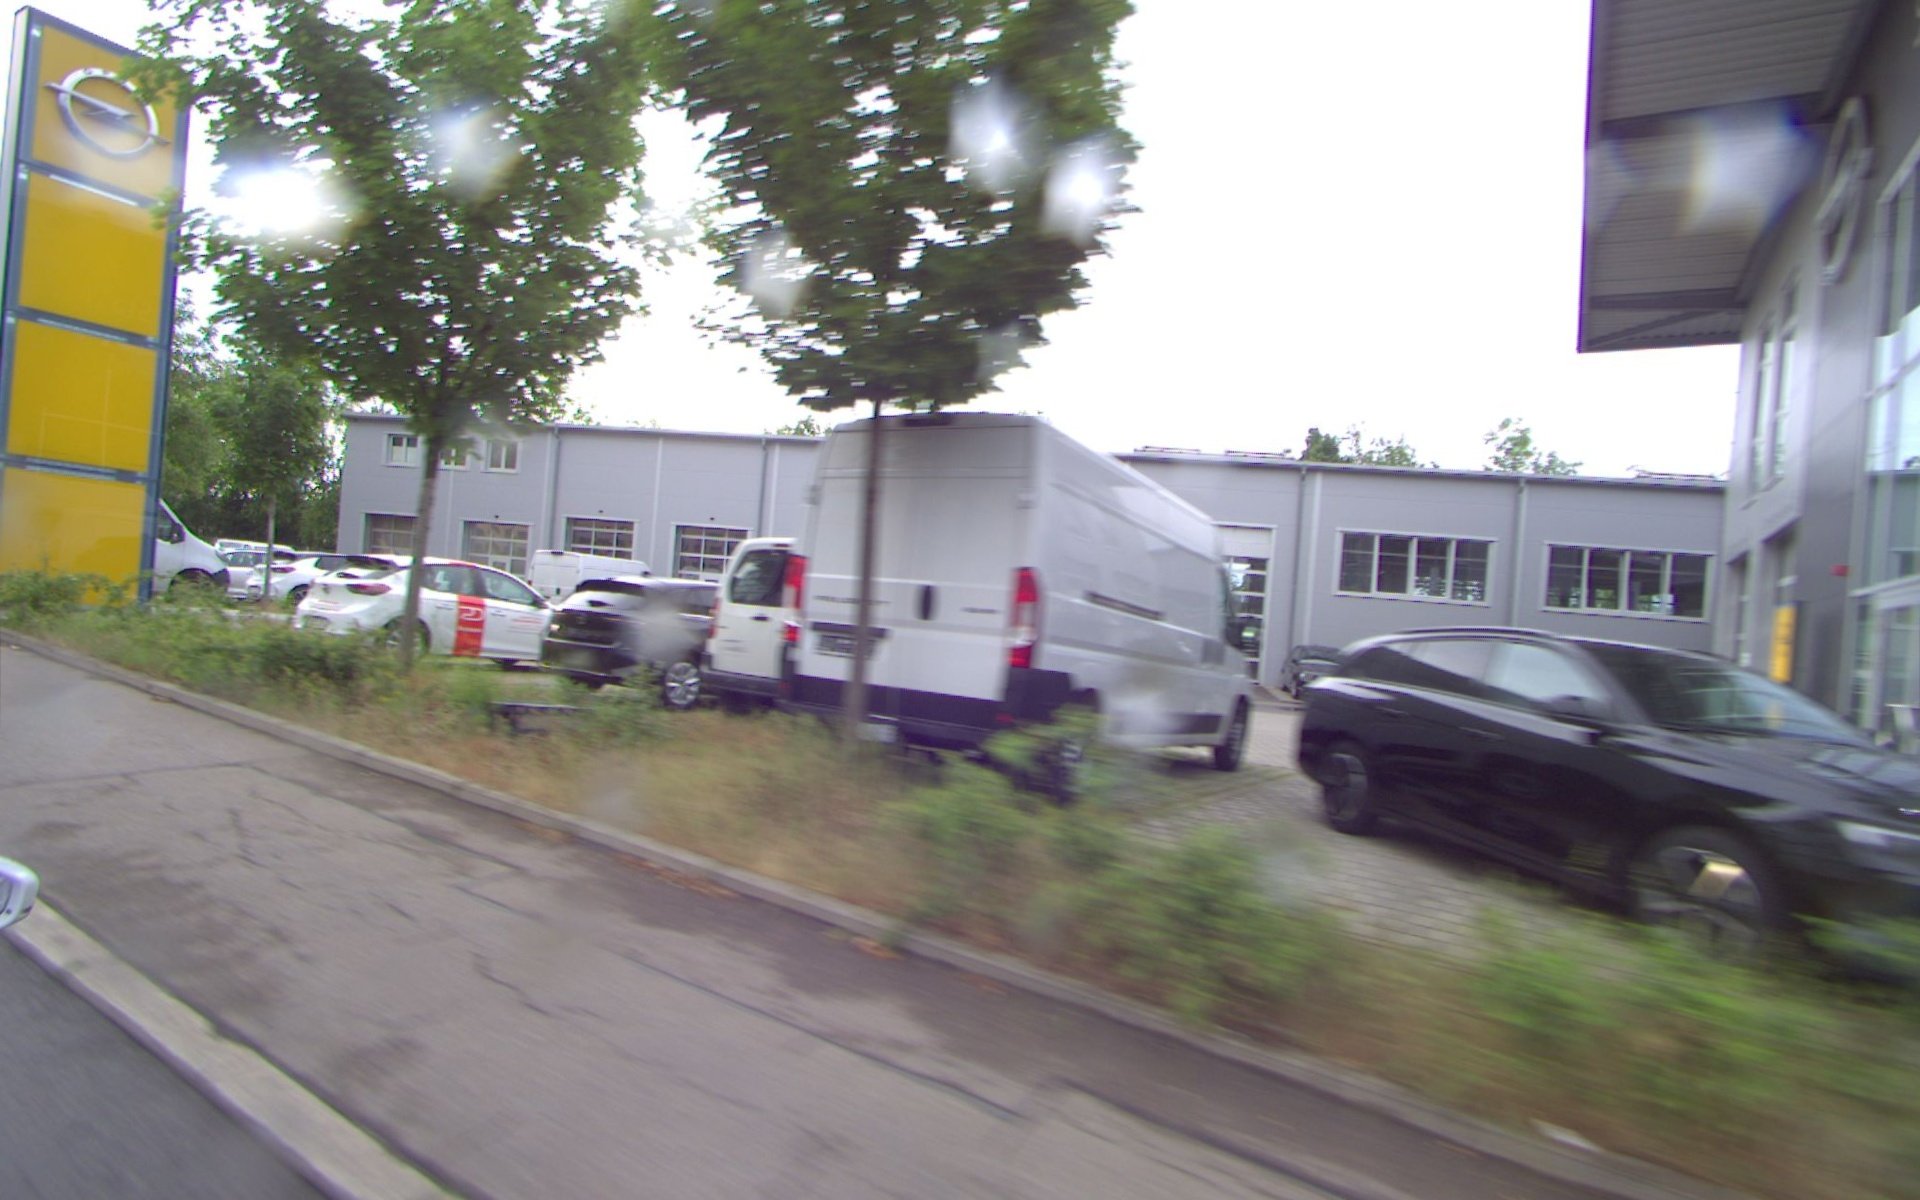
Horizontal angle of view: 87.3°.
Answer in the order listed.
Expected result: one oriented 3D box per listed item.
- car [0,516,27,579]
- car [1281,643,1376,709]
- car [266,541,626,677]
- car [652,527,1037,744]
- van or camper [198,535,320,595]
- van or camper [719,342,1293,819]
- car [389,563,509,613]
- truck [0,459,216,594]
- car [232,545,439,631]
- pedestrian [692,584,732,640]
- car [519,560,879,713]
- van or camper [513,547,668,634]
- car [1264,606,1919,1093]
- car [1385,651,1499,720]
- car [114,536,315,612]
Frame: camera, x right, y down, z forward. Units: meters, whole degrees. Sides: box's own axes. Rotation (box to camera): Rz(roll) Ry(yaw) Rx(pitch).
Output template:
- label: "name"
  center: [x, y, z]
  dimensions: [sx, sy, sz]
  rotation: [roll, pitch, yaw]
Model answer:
- label: "car"
  center: [-27.200, -1.635, 25.985]
  dimensions: [1.731, 1.608, 4.135]
  rotation: [7, -1, 32]
- label: "car"
  center: [10.205, 2.054, 28.142]
  dimensions: [1.805, 1.442, 4.000]
  rotation: [5, 0, 12]
- label: "car"
  center: [-6.952, 0.203, 14.012]
  dimensions: [1.864, 1.446, 3.991]
  rotation: [7, -1, 32]
- label: "car"
  center: [-1.021, 0.446, 10.918]
  dimensions: [1.814, 1.868, 4.131]
  rotation: [3, -3, 34]
- label: "van or camper"
  center: [-28.641, -1.436, 41.027]
  dimensions: [5.524, 1.810, 1.996]
  rotation: [7, -1, 33]
- label: "van or camper"
  center: [0.927, 0.018, 8.850]
  dimensions: [2.313, 2.756, 5.746]
  rotation: [7, -1, 31]
- label: "car"
  center: [-19.334, -0.409, 38.228]
  dimensions: [1.806, 1.622, 3.999]
  rotation: [6, 1, 13]
- label: "truck"
  center: [-17.226, -1.466, 18.423]
  dimensions: [2.305, 2.038, 5.158]
  rotation: [7, -1, 29]
- label: "car"
  center: [-14.444, -0.236, 23.461]
  dimensions: [1.532, 1.537, 3.695]
  rotation: [6, -1, 32]
- label: "pedestrian"
  center: [-8.910, 0.435, 36.192]
  dimensions: [1.002, 1.904, 0.696]
  rotation: [7, 0, 8]
- label: "car"
  center: [-2.881, 0.518, 11.981]
  dimensions: [1.719, 1.447, 3.993]
  rotation: [4, -3, 32]
- label: "van or camper"
  center: [-12.541, -0.285, 34.615]
  dimensions: [2.244, 2.522, 5.284]
  rotation: [7, 1, 14]
- label: "car"
  center: [3.708, 0.908, 5.633]
  dimensions: [1.883, 1.473, 4.508]
  rotation: [5, 0, -11]
- label: "car"
  center: [13.369, 2.316, 28.131]
  dimensions: [1.812, 1.569, 4.003]
  rotation: [6, -1, 12]
- label: "car"
  center: [-18.785, -0.623, 25.500]
  dimensions: [1.604, 1.435, 3.693]
  rotation: [6, -1, 34]
